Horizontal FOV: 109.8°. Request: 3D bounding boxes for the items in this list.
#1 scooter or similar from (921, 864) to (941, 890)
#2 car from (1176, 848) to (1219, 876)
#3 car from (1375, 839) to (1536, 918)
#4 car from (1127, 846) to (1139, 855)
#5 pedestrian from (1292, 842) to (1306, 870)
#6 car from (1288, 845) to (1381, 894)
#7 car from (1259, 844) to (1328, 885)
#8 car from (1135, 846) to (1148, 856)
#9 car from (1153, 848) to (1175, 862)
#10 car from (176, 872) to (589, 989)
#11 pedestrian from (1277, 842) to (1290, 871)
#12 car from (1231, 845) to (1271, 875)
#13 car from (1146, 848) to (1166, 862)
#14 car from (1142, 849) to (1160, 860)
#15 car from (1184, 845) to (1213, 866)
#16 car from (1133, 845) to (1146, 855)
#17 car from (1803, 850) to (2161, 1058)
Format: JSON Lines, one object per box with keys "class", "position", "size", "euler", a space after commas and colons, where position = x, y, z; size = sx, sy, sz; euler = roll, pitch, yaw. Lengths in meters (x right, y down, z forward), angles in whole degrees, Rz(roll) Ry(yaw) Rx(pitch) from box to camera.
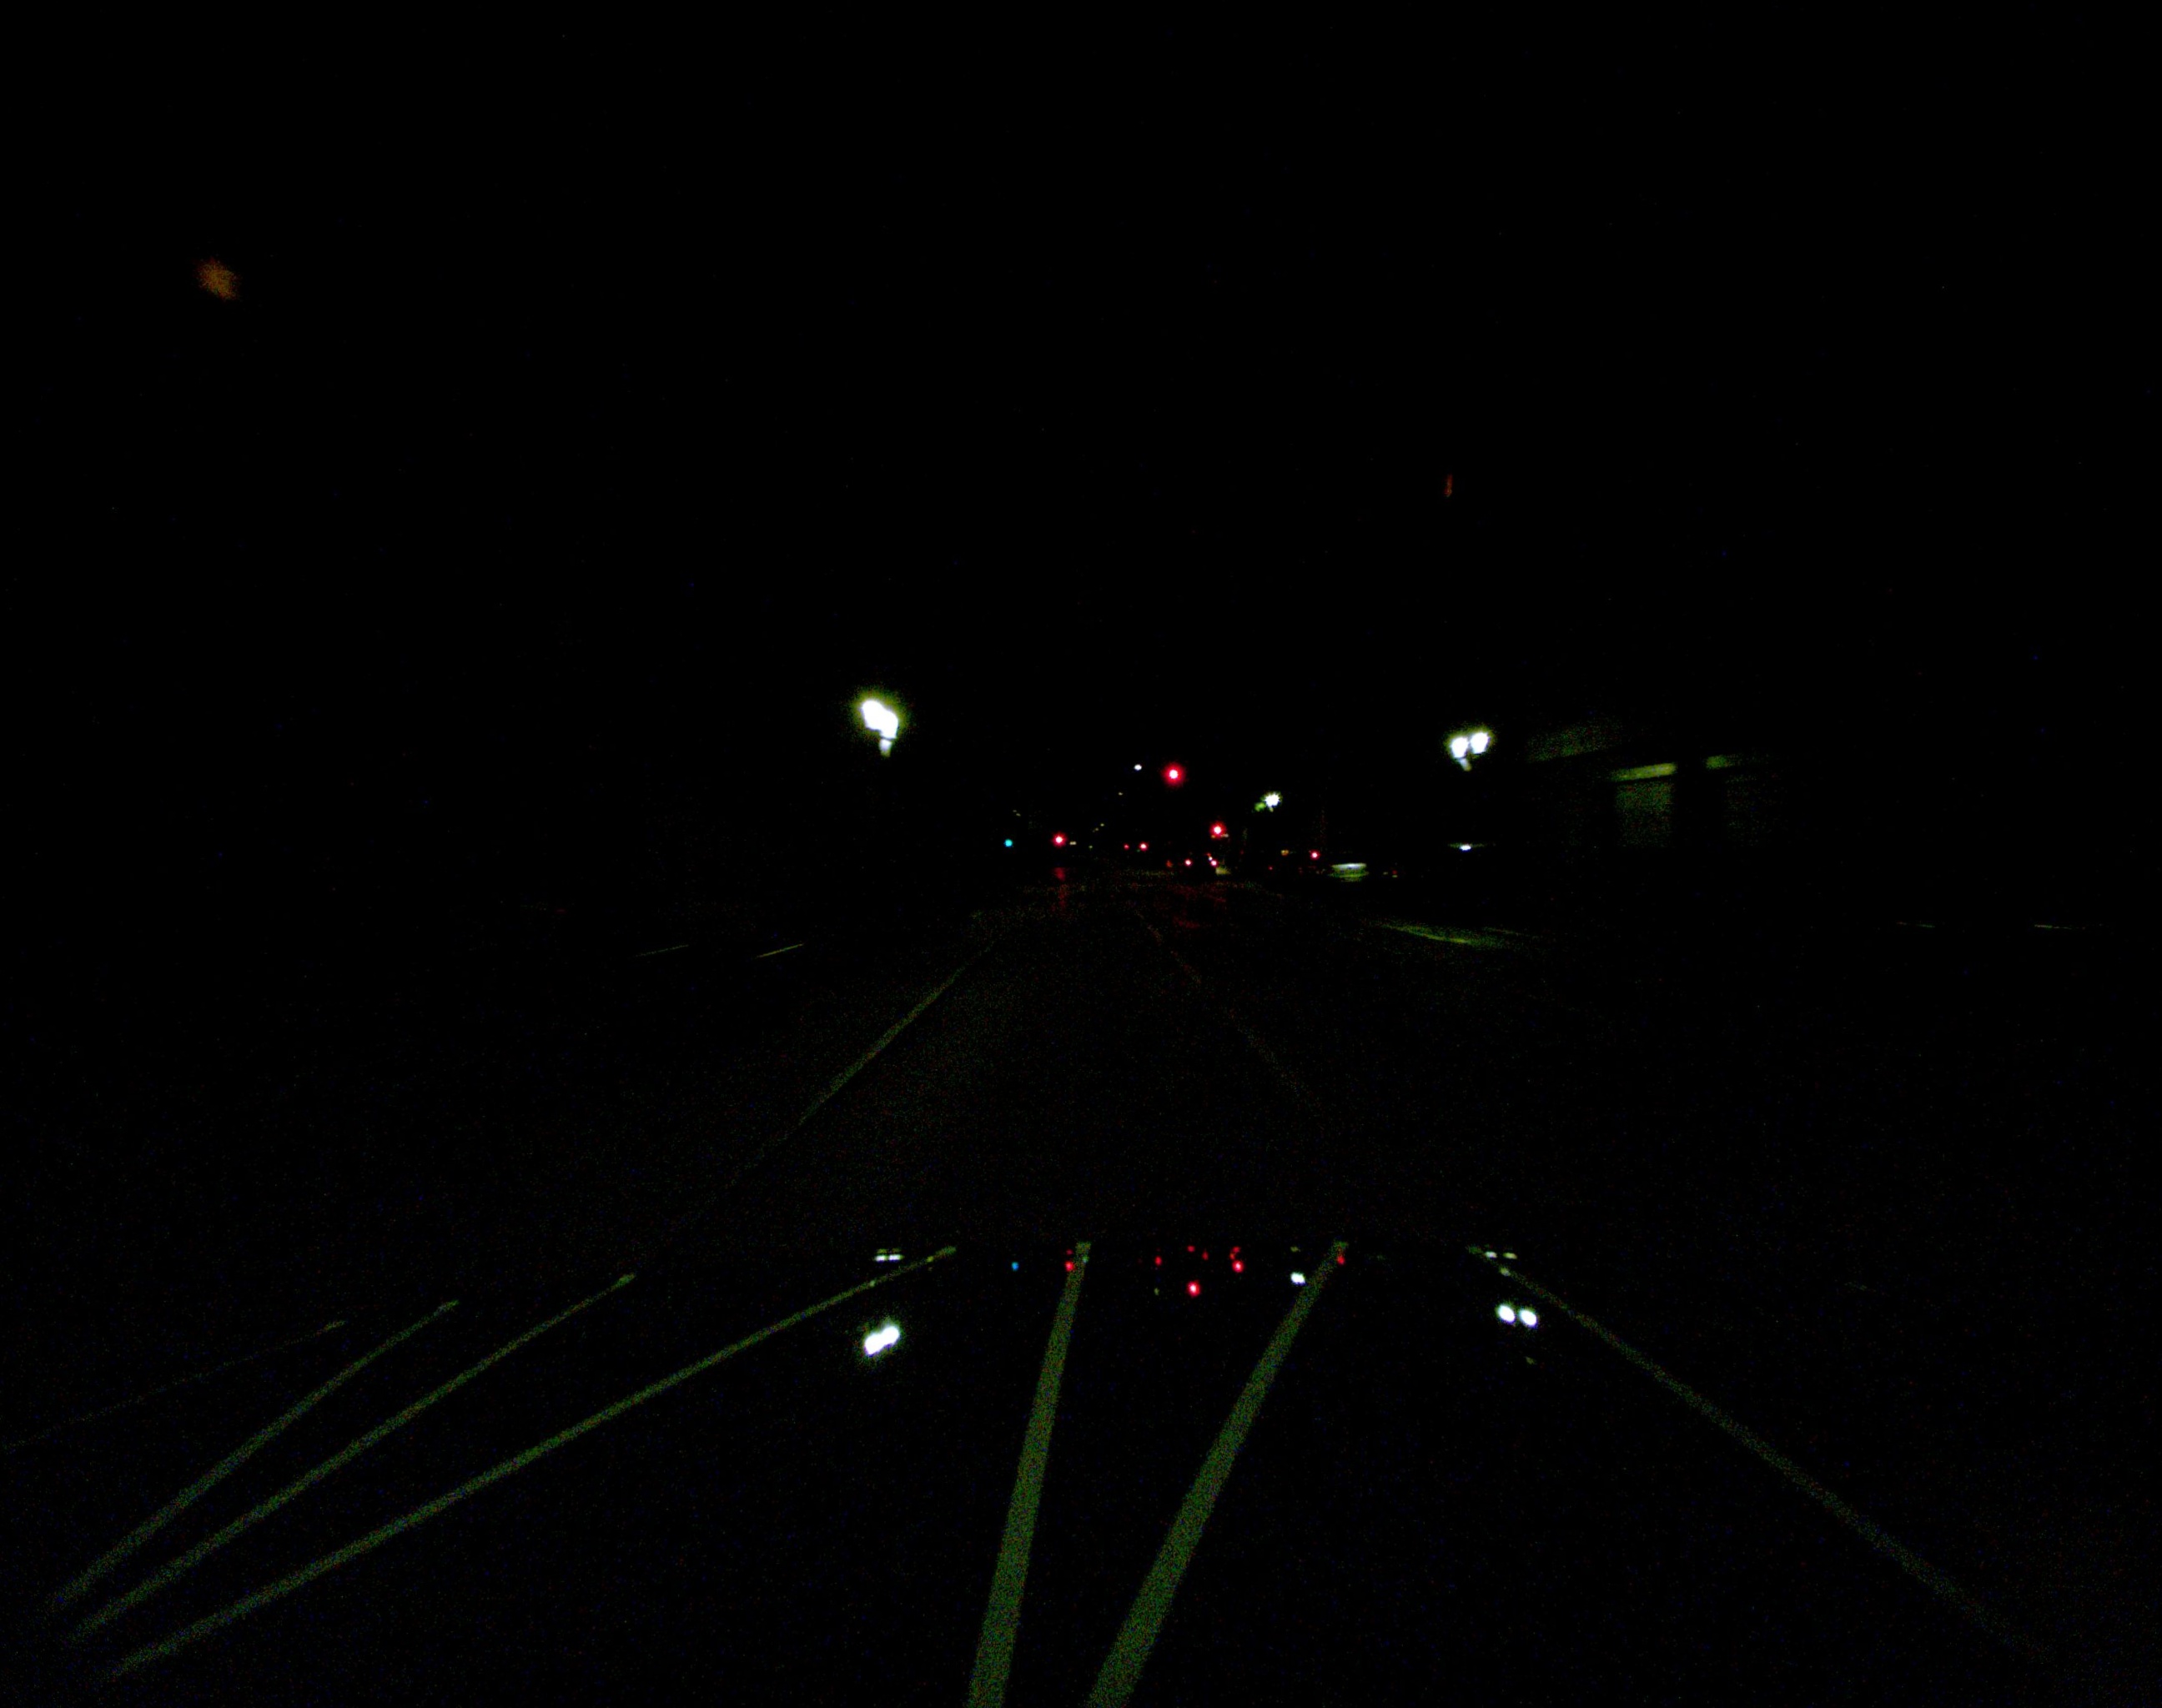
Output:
{"class": "scooter or similar", "position": [-6.872, 1.048, 34.923], "size": [0.422, 1.124, 1.494], "euler": [0, 1, 8]}
{"class": "car", "position": [6.228, 0.411, 40.995], "size": [1.719, 1.421, 4.000], "euler": [0, 0, 1]}
{"class": "car", "position": [8.825, 0.513, 18.388], "size": [1.789, 1.572, 4.411], "euler": [-4, 0, 2]}
{"class": "car", "position": [9.000, -0.642, 131.234], "size": [1.633, 1.455, 3.513], "euler": [0, 1, -3]}
{"class": "pedestrian", "position": [13.018, 0.121, 45.477], "size": [0.710, 1.680, 0.998], "euler": [0, 1, 11]}
{"class": "car", "position": [8.757, 0.483, 26.572], "size": [1.789, 1.482, 3.999], "euler": [-4, 0, -1]}
{"class": "car", "position": [8.952, 0.402, 32.328], "size": [1.789, 1.482, 4.330], "euler": [-4, 0, 2]}
{"class": "car", "position": [8.708, -0.454, 109.819], "size": [1.555, 1.425, 4.347], "euler": [-3, 1, 1]}
{"class": "car", "position": [9.060, 0.045, 83.212], "size": [1.865, 1.425, 4.443], "euler": [-2, 1, 1]}
{"class": "car", "position": [-9.716, 1.013, 10.764], "size": [4.436, 1.451, 1.790], "euler": [0, 0, 6]}
{"class": "pedestrian", "position": [12.115, 0.143, 45.488], "size": [0.710, 1.680, 1.125], "euler": [0, 1, 11]}
{"class": "car", "position": [9.228, 0.299, 41.499], "size": [1.596, 1.482, 3.700], "euler": [-4, 0, 5]}
{"class": "car", "position": [8.639, 0.111, 88.169], "size": [1.865, 1.470, 4.472], "euler": [-2, 1, 1]}
{"class": "car", "position": [9.342, 0.061, 101.200], "size": [1.866, 1.425, 4.402], "euler": [-2, 1, -2]}
{"class": "car", "position": [9.659, 0.071, 62.791], "size": [1.890, 1.587, 4.024], "euler": [-3, 1, 2]}
{"class": "car", "position": [8.769, -0.585, 114.466], "size": [1.642, 1.425, 4.349], "euler": [-3, 1, 1]}
{"class": "car", "position": [8.536, 0.706, 5.944], "size": [1.789, 1.407, 4.126], "euler": [-3, 0, -1]}
